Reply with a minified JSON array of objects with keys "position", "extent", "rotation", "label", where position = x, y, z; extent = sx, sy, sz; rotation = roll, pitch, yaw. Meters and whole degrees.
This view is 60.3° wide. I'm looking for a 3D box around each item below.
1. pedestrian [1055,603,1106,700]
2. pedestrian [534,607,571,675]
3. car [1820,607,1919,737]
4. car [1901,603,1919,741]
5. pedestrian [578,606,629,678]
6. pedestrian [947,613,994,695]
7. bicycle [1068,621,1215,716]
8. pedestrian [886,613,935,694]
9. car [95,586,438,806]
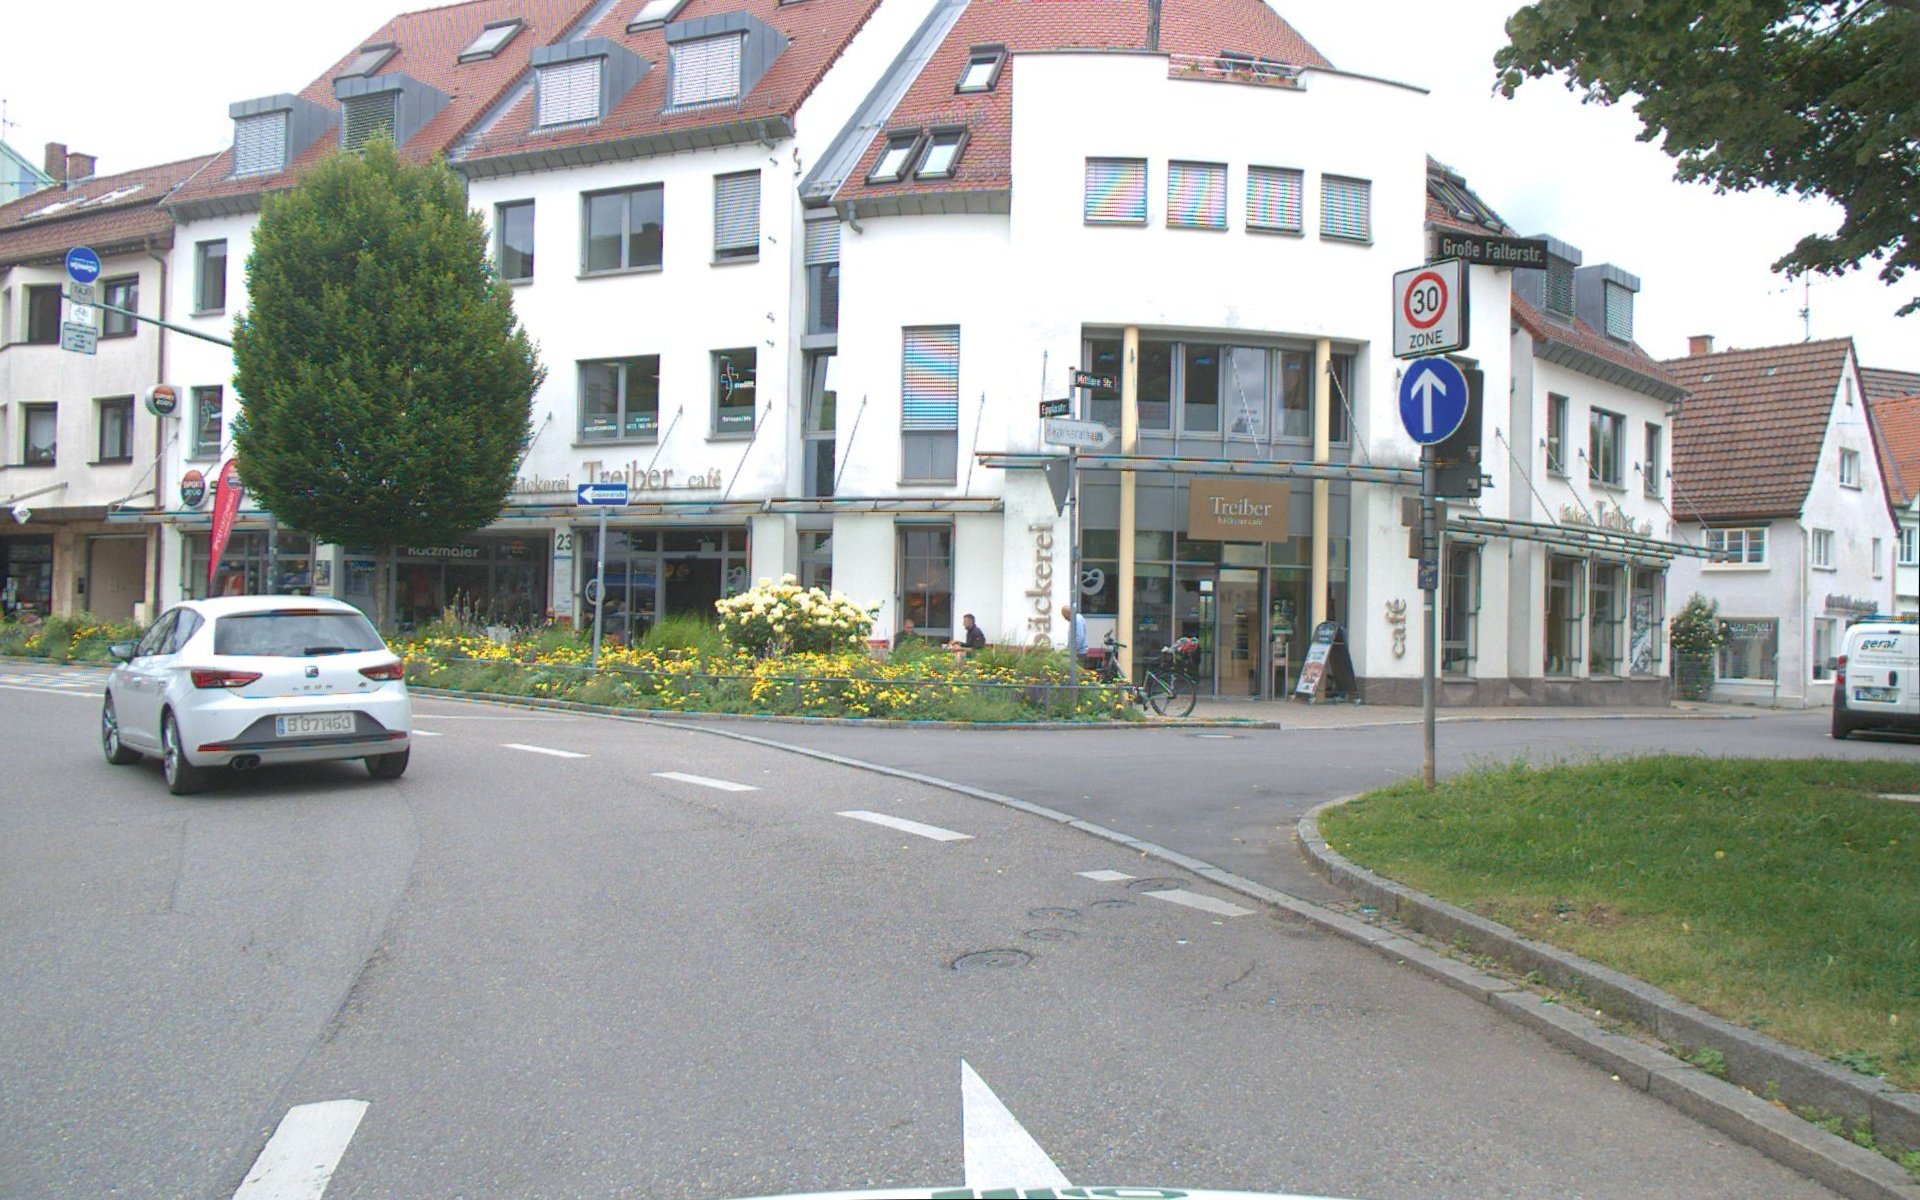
[{"position":[1.978,0.830,27.013],"extent":[0.685,1.552,0.868],"rotation":[1,0,14],"label":"pedestrian"},{"position":[-7.857,0.789,31.892],"extent":[0.480,1.293,0.501],"rotation":[1,0,26],"label":"pedestrian"},{"position":[14.423,1.095,25.593],"extent":[1.792,1.824,4.210],"rotation":[1,-1,30],"label":"car"},{"position":[13.676,0.959,19.631],"extent":[1.837,1.734,3.982],"rotation":[4,-2,-30],"label":"car"},{"position":[-6.735,0.795,31.271],"extent":[0.555,1.341,0.764],"rotation":[1,-3,26],"label":"pedestrian"},{"position":[0.187,0.914,28.190],"extent":[0.641,1.365,0.696],"rotation":[1,0,14],"label":"pedestrian"},{"position":[2.598,0.959,23.720],"extent":[1.935,1.261,0.743],"rotation":[1,0,26],"label":"bicycle"},{"position":[-0.851,0.912,28.541],"extent":[0.685,1.355,0.685],"rotation":[1,0,14],"label":"pedestrian"},{"position":[-5.868,0.663,13.727],"extent":[1.828,1.459,3.951],"rotation":[0,1,-35],"label":"car"}]
